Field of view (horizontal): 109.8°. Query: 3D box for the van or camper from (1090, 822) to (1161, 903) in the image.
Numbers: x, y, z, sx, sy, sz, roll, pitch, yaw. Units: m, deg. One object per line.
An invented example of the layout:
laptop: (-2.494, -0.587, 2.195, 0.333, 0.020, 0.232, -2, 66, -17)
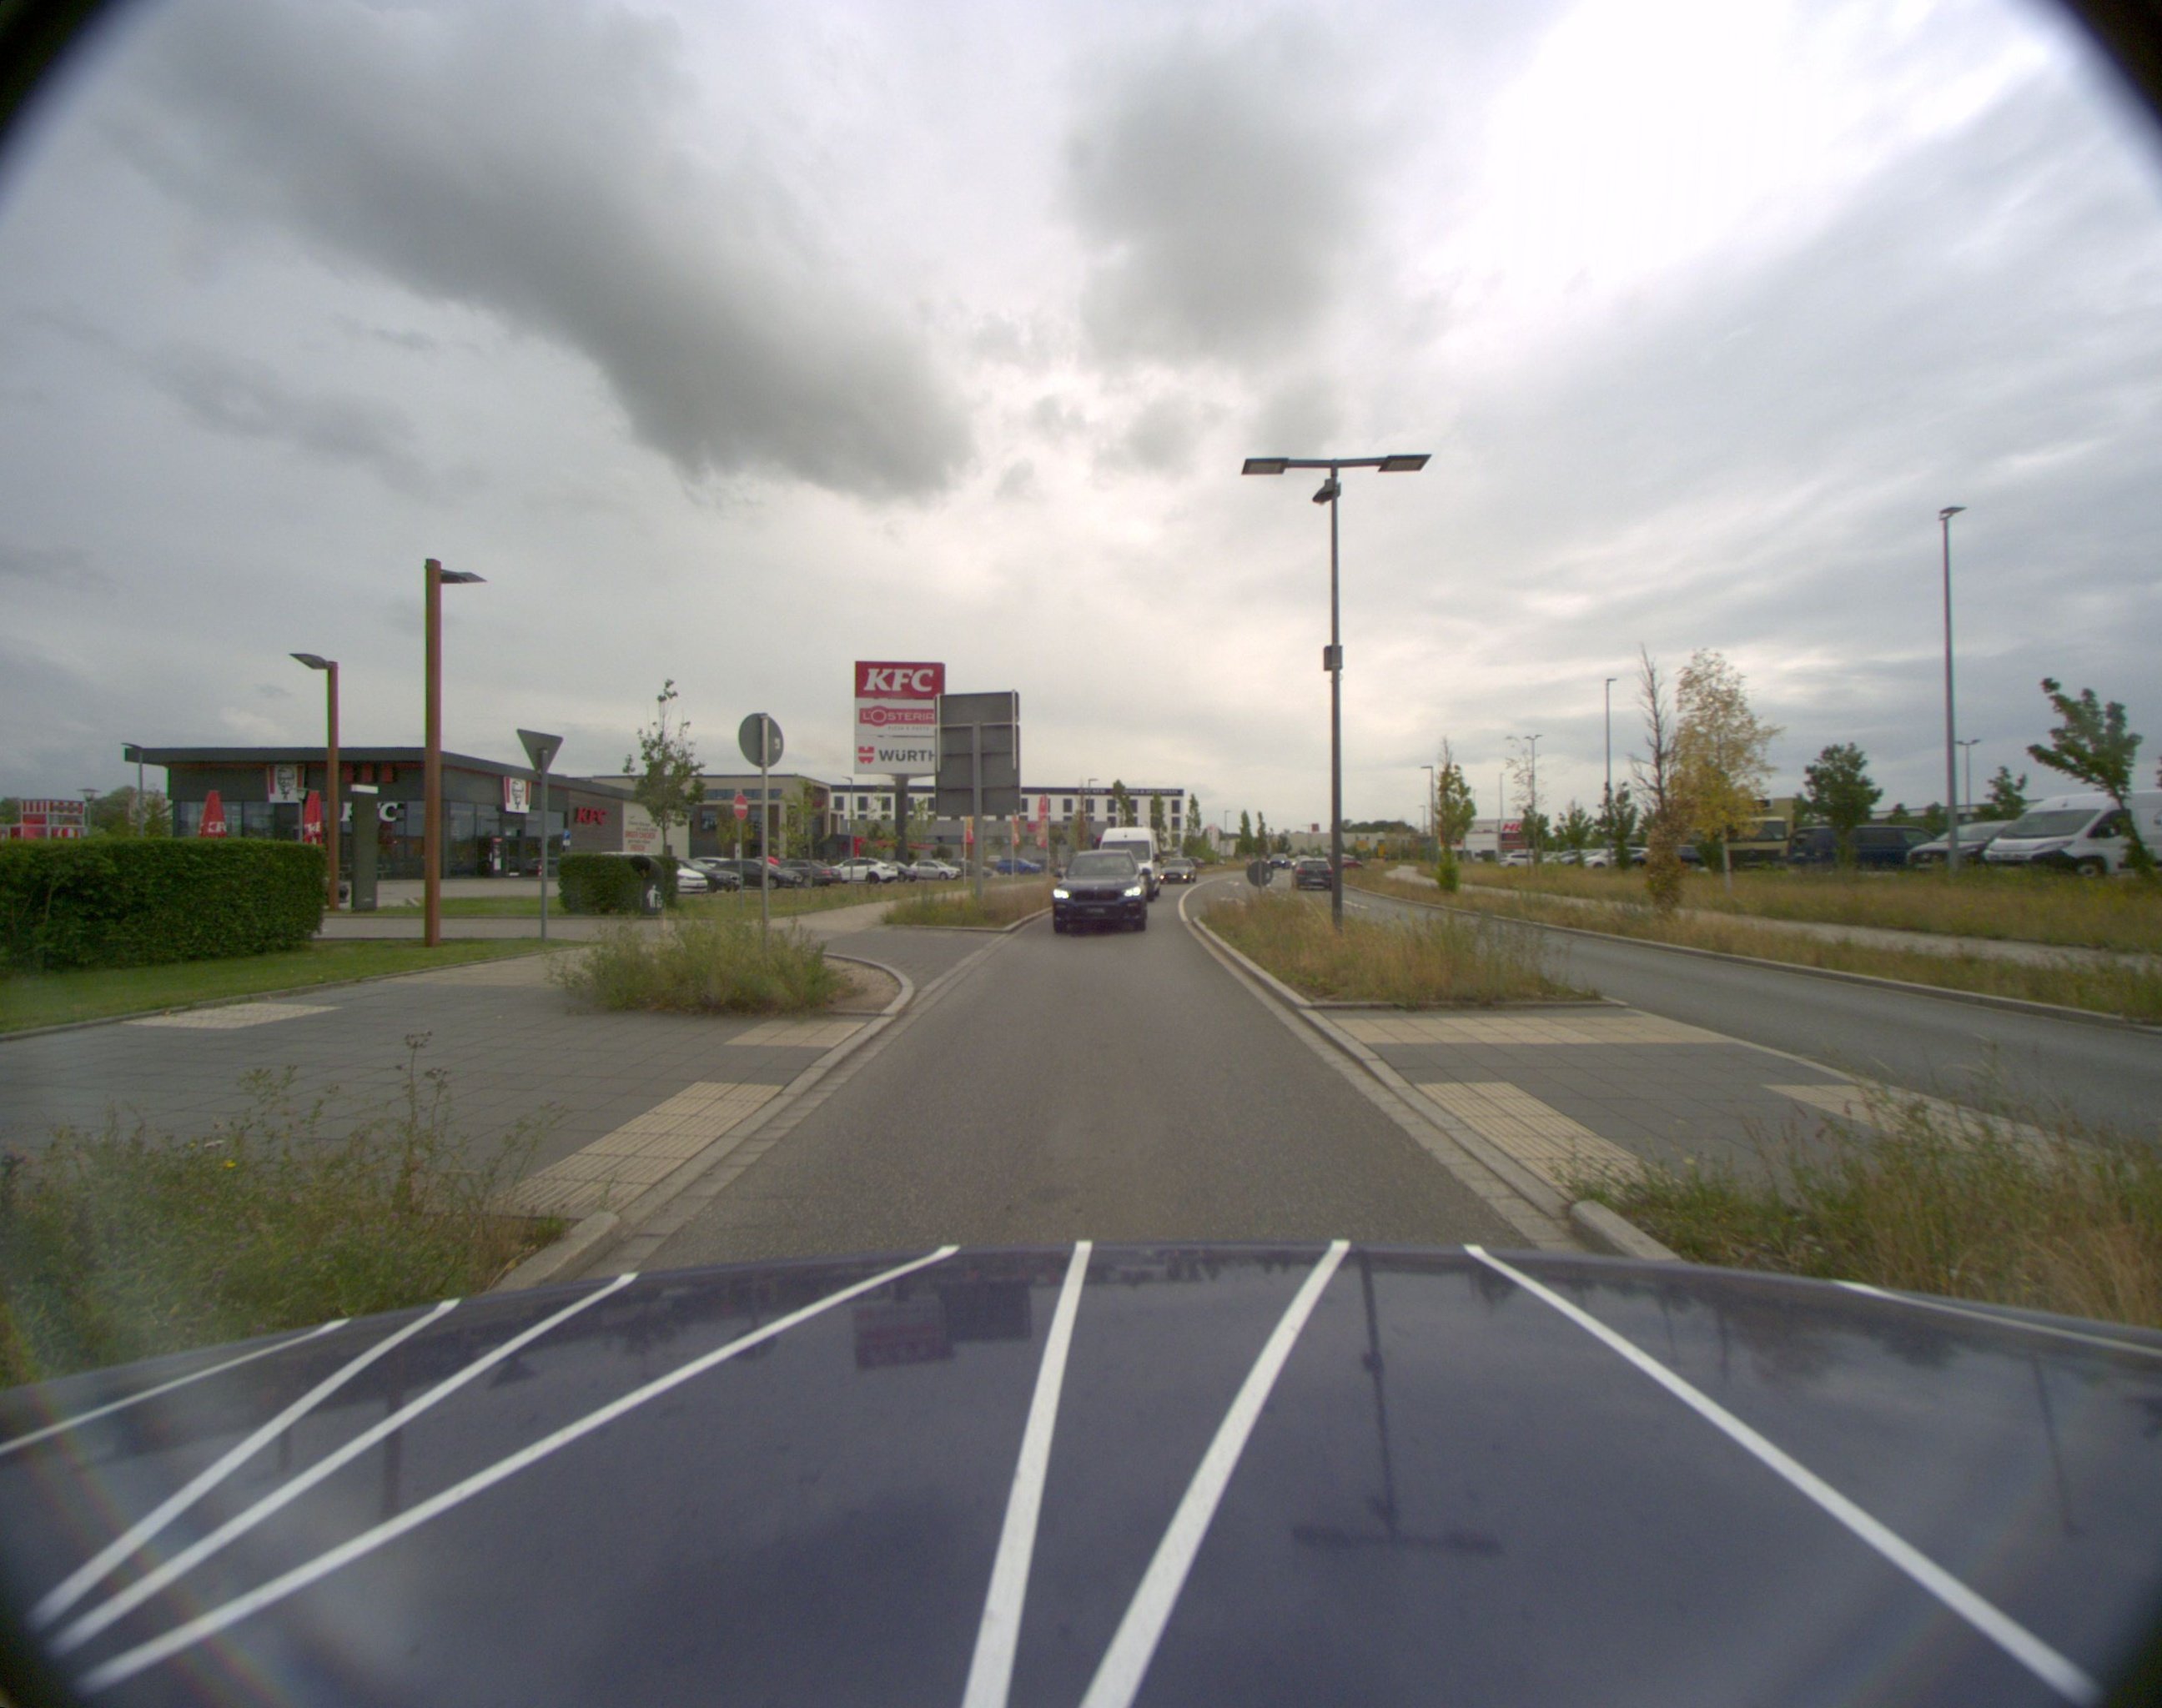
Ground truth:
van or camper: (1.748, 0.308, 27.515, 2.263, 2.601, 5.700, 0, 0, 6)

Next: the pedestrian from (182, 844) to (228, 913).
pedestrian: (-23.317, 0.640, 20.239, 0.472, 1.795, 0.799, 0, 0, -21)

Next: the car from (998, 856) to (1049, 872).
car: (-5.302, 0.918, 69.843, 4.266, 1.511, 1.969, 0, 0, 23)

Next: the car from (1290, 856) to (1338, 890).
car: (10.692, 0.844, 35.107, 1.844, 1.399, 4.004, 2, 0, 13)

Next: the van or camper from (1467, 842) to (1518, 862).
van or camper: (57.722, -0.275, 106.679, 5.860, 2.783, 2.246, 0, 1, 15)

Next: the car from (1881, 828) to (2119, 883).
car: (28.641, 0.055, 23.821, 4.913, 1.607, 1.995, 0, 0, 2)

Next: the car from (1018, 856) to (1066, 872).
car: (-3.700, 0.925, 71.976, 3.990, 1.485, 1.985, 0, 0, 25)

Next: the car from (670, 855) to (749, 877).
car: (-26.163, 0.839, 53.663, 4.571, 1.510, 2.082, 1, 0, 4)

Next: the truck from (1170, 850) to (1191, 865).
truck: (16.463, 0.604, 125.742, 2.229, 2.312, 8.225, 0, 0, 16)

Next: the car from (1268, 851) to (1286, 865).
car: (22.048, 0.435, 85.386, 1.754, 1.575, 4.005, -1, 0, 17)

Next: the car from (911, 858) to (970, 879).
car: (-10.356, 1.065, 56.117, 3.865, 1.473, 1.905, 1, 1, 19)

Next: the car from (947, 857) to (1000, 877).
car: (-8.553, 1.021, 60.590, 3.762, 1.485, 1.893, 0, 0, 20)

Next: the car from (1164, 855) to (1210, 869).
car: (10.758, 0.810, 76.926, 4.233, 1.412, 1.839, -1, 0, 38)

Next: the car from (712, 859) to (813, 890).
car: (-15.383, 0.962, 36.822, 4.092, 1.429, 1.944, 0, 0, 7)

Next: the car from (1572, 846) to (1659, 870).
car: (35.311, 0.251, 50.304, 4.253, 1.550, 1.991, 0, 0, 14)

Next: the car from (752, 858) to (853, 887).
car: (-14.505, 0.954, 39.673, 4.525, 1.460, 2.034, 0, 0, 9)

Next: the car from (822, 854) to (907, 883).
car: (-13.262, 0.882, 46.624, 4.568, 1.635, 2.091, 1, 0, 13)

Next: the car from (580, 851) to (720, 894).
car: (-16.632, 0.705, 29.445, 4.357, 1.630, 1.938, 0, 0, 3)

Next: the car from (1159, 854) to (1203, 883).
car: (5.785, 0.793, 43.510, 1.754, 1.575, 4.006, -1, 0, 18)

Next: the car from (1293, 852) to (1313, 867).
car: (22.542, 0.559, 77.309, 1.705, 1.429, 4.037, 0, 0, 13)

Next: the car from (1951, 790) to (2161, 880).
car: (28.202, -0.505, 20.741, 6.082, 2.293, 2.211, -1, 0, 4)

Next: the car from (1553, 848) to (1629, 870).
car: (37.038, 0.344, 55.320, 4.246, 1.504, 2.049, -1, 0, 24)

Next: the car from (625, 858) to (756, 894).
car: (-16.343, 0.899, 31.954, 4.477, 1.428, 2.075, 0, 0, 5)

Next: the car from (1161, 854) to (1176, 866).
car: (12.654, 0.826, 109.349, 1.765, 1.676, 4.416, 0, 0, 12)

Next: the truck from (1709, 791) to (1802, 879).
truck: (30.661, -0.760, 34.586, 2.851, 3.520, 8.447, -1, 0, 42)

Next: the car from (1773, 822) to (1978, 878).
car: (29.388, -0.131, 28.307, 4.909, 1.978, 2.181, 0, 0, 12)

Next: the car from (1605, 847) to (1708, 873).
car: (32.617, 0.347, 43.195, 4.237, 1.426, 2.000, 0, 0, 18)

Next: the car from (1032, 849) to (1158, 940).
car: (0.450, 0.780, 16.042, 1.997, 1.654, 4.004, -1, -1, 10)

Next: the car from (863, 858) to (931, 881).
car: (-12.496, 1.045, 51.656, 3.991, 1.476, 1.943, 0, 1, 17)

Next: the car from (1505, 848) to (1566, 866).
car: (37.969, 0.277, 63.603, 4.183, 1.460, 1.889, 0, 0, 21)

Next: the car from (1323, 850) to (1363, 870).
car: (23.033, 0.538, 66.645, 1.799, 1.659, 4.337, 2, 1, 41)

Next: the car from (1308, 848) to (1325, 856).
car: (62.538, -0.459, 201.627, 4.002, 2.002, 1.640, -1, 0, -15)
